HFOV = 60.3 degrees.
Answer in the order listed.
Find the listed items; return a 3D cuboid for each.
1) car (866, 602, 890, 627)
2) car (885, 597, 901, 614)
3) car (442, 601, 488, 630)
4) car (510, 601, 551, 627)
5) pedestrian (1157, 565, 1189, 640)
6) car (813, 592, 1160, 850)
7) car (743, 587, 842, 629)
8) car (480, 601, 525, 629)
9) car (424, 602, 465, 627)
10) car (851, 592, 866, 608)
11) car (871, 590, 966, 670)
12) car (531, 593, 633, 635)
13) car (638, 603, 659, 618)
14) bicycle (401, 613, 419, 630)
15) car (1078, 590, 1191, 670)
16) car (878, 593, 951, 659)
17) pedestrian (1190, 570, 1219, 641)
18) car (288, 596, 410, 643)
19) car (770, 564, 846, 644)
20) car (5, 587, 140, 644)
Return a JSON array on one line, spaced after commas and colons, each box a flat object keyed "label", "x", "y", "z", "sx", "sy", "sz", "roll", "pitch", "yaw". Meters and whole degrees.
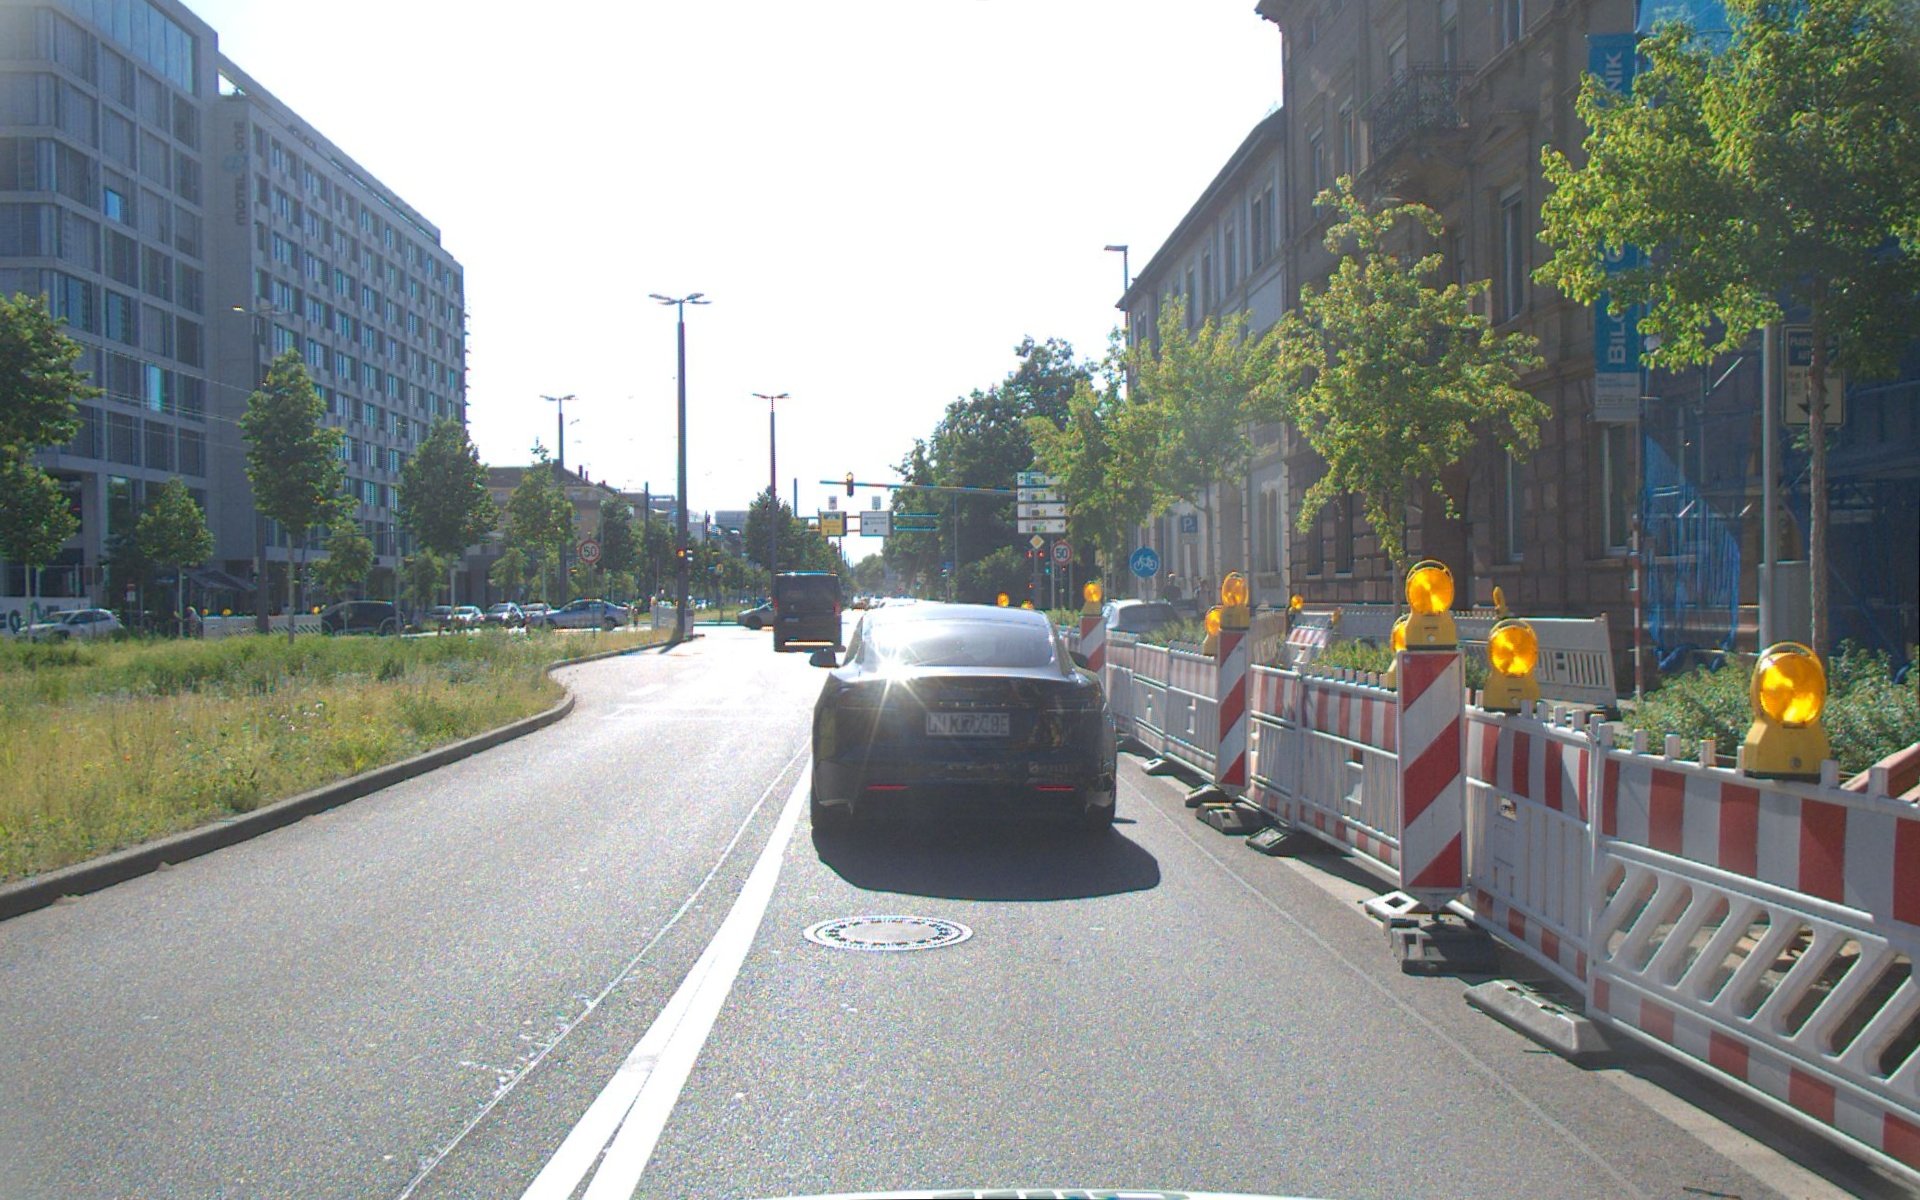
[{"label": "car", "x": -6.447, "y": 1.153, "z": 129.679, "sx": 1.756, "sy": 1.906, "sz": 3.846, "roll": 1, "pitch": 0, "yaw": -4}, {"label": "car", "x": -7.847, "y": 0.635, "z": 194.560, "sx": 1.756, "sy": 1.906, "sz": 3.846, "roll": 1, "pitch": 0, "yaw": -4}, {"label": "car", "x": -30.938, "y": 0.955, "z": 103.410, "sx": 1.754, "sy": 1.680, "sz": 3.998, "roll": -1, "pitch": 0, "yaw": -2}, {"label": "car", "x": -28.331, "y": 0.912, "z": 109.247, "sx": 1.754, "sy": 1.680, "sz": 3.998, "roll": -1, "pitch": 0, "yaw": -2}, {"label": "pedestrian", "x": 5.686, "y": 0.071, "z": 44.177, "sx": 0.645, "sy": 1.946, "sz": 0.587, "roll": -4, "pitch": 0, "yaw": -3}, {"label": "car", "x": 0.052, "y": 0.696, "z": 11.862, "sx": 2.010, "sy": 1.469, "sz": 4.522, "roll": 1, "pitch": 0, "yaw": -3}, {"label": "car", "x": -7.780, "y": 0.364, "z": 77.159, "sx": 4.421, "sy": 1.824, "sz": 1.999, "roll": -1, "pitch": 0, "yaw": -2}, {"label": "car", "x": -27.984, "y": 0.893, "z": 101.236, "sx": 1.754, "sy": 1.680, "sz": 3.998, "roll": -1, "pitch": 0, "yaw": -2}, {"label": "car", "x": -36.432, "y": 0.992, "z": 116.989, "sx": 1.754, "sy": 1.680, "sz": 3.998, "roll": -1, "pitch": 0, "yaw": -2}, {"label": "car", "x": -12.129, "y": -0.032, "z": 197.613, "sx": 1.756, "sy": 1.906, "sz": 3.846, "roll": 1, "pitch": 0, "yaw": -4}, {"label": "car", "x": -0.861, "y": 0.527, "z": 32.279, "sx": 1.713, "sy": 1.452, "sz": 4.835, "roll": 0, "pitch": 0, "yaw": -3}, {"label": "car", "x": -17.303, "y": 0.630, "z": 75.695, "sx": 4.441, "sy": 1.824, "sz": 1.990, "roll": -1, "pitch": 0, "yaw": -18}, {"label": "car", "x": -35.413, "y": 1.165, "z": 188.222, "sx": 1.754, "sy": 1.680, "sz": 3.998, "roll": -1, "pitch": 0, "yaw": -2}, {"label": "bicycle", "x": -35.869, "y": 1.384, "z": 107.845, "sx": 0.574, "sy": 1.119, "sz": 1.623, "roll": 1, "pitch": -1, "yaw": 1}, {"label": "car", "x": 3.627, "y": 0.582, "z": 35.149, "sx": 1.615, "sy": 1.501, "sz": 4.698, "roll": -3, "pitch": 0, "yaw": -3}, {"label": "car", "x": -1.130, "y": 0.600, "z": 41.025, "sx": 1.714, "sy": 1.554, "sz": 4.003, "roll": 0, "pitch": 0, "yaw": -2}, {"label": "pedestrian", "x": 6.524, "y": 0.150, "z": 44.204, "sx": 0.552, "sy": 1.852, "sz": 0.587, "roll": -4, "pitch": 0, "yaw": -3}, {"label": "car", "x": -25.821, "y": 0.799, "z": 69.932, "sx": 4.479, "sy": 1.824, "sz": 1.973, "roll": -1, "pitch": 0, "yaw": -38}, {"label": "car", "x": -4.589, "y": 0.085, "z": 50.505, "sx": 2.174, "sy": 2.307, "sz": 4.481, "roll": 1, "pitch": 1, "yaw": -4}, {"label": "car", "x": -31.747, "y": 0.532, "z": 59.287, "sx": 1.870, "sy": 1.952, "sz": 3.985, "roll": -1, "pitch": 0, "yaw": 23}]
